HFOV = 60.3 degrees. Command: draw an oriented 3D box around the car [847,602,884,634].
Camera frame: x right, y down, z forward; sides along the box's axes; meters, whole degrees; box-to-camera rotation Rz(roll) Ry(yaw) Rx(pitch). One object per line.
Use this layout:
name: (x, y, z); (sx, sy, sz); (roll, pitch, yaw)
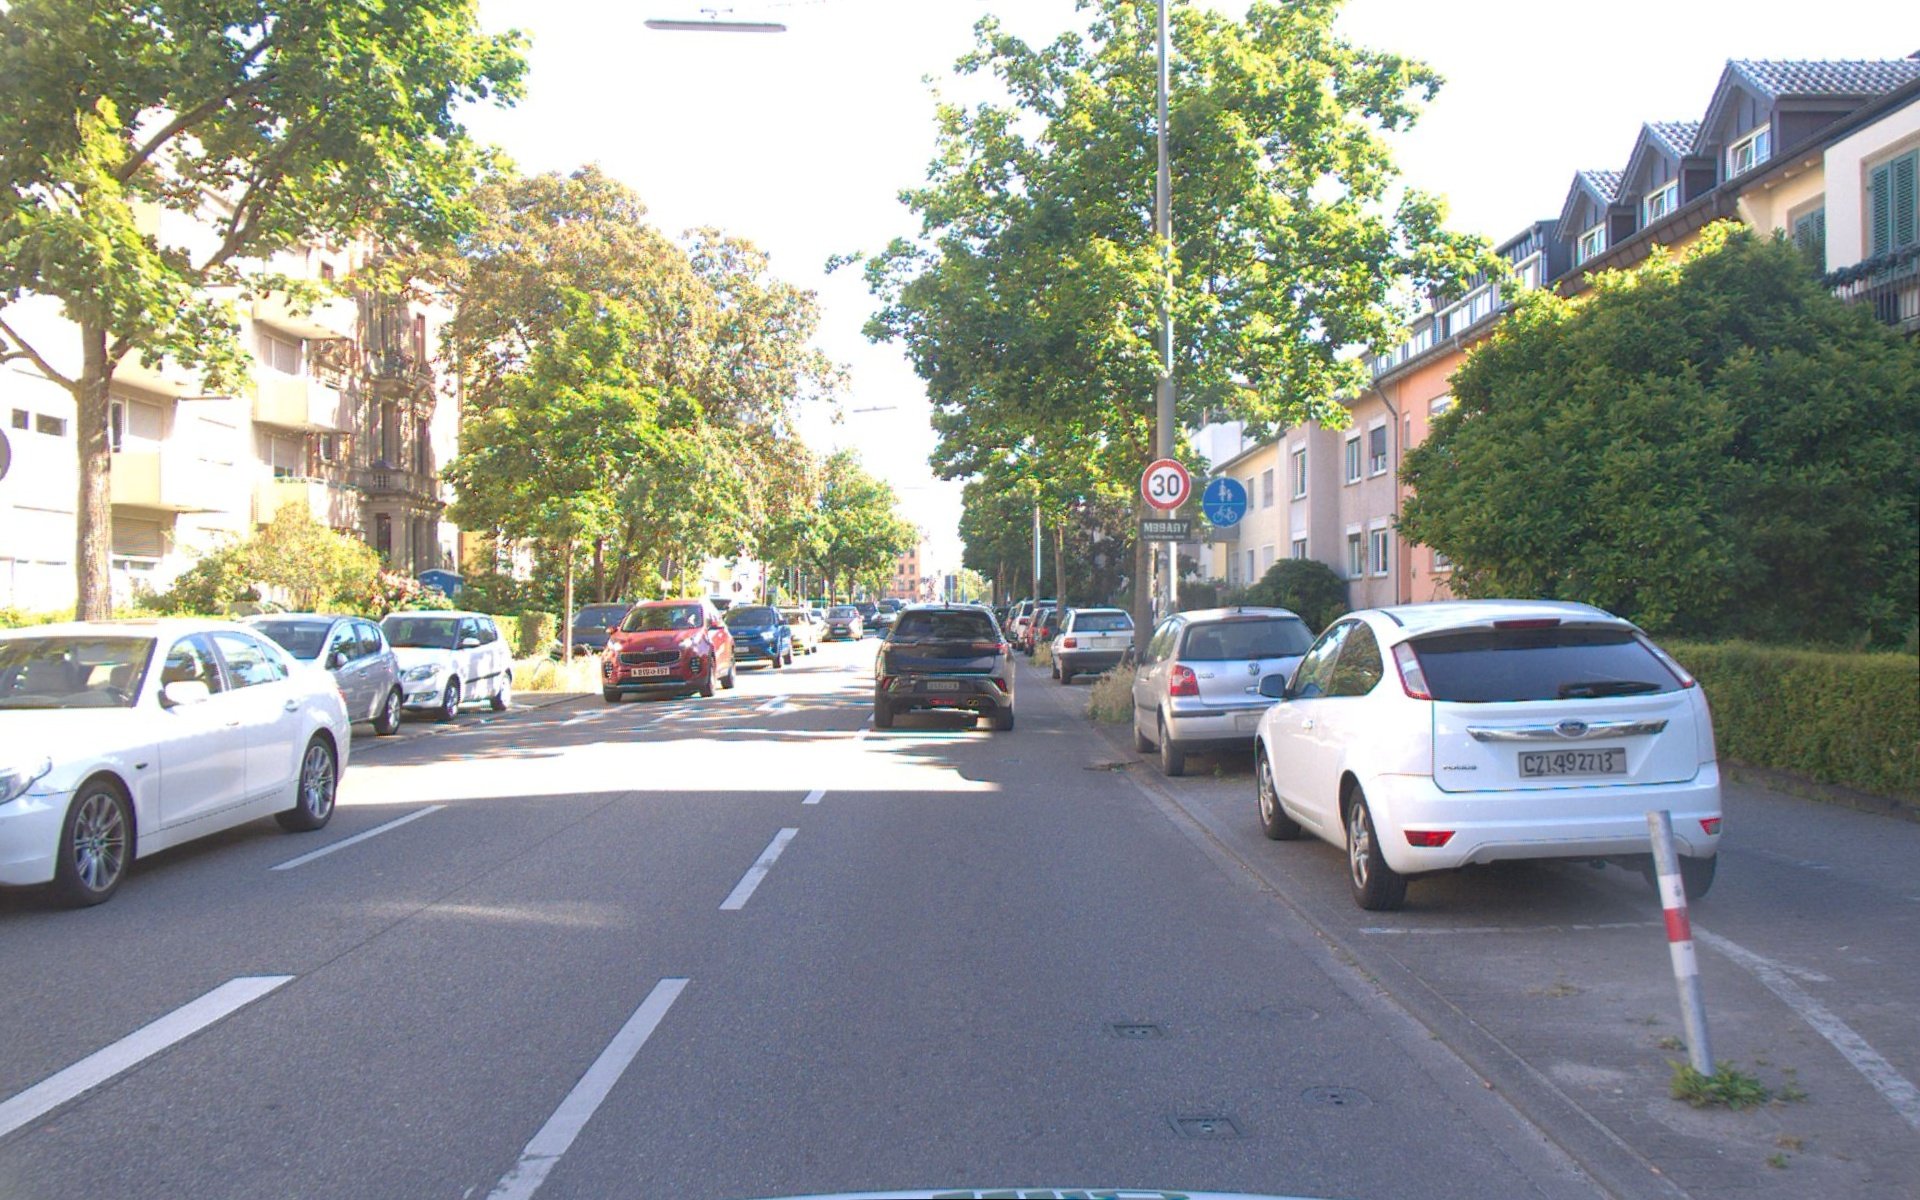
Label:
car: (-5.258, 0.968, 92.331); (1.799, 1.642, 4.400); (-3, 0, -1)

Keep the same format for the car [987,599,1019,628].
car: (2.275, 0.706, 88.349); (1.553, 1.420, 4.454); (-2, 0, 1)

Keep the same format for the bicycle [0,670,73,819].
bicycle: (-8.034, 1.101, 12.977); (1.789, 1.106, 0.560); (2, -1, -1)

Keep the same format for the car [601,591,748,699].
car: (-4.882, 0.709, 28.838); (1.686, 1.645, 4.300); (-3, 0, 1)

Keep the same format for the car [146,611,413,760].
car: (-7.671, 0.899, 19.029); (1.473, 1.501, 3.895); (0, 0, -1)

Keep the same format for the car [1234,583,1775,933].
car: (2.772, 0.714, 9.472); (1.703, 1.508, 4.196); (-2, 0, 0)

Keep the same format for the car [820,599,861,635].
car: (-5.153, 0.735, 71.633); (1.549, 1.477, 3.744); (-2, 0, -1)

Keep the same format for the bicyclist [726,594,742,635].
bicyclist: (-9.865, 0.620, 72.310); (0.596, 1.785, 0.691); (-1, 0, 0)

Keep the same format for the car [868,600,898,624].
car: (-4.939, 0.795, 106.996); (1.698, 1.437, 4.192); (-3, 0, 0)

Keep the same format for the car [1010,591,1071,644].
car: (2.707, 0.581, 56.544); (1.733, 1.688, 4.339); (-2, 0, -2)

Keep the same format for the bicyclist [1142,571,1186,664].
bicyclist: (4.129, 0.348, 33.497); (0.709, 1.824, 1.015); (-2, 0, 0)

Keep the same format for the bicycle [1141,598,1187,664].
bicycle: (4.126, 0.613, 33.561); (0.683, 1.268, 1.822); (-2, 0, 0)

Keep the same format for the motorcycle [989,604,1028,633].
motorcycle: (2.257, 0.876, 77.059); (0.689, 1.294, 2.410); (-2, 0, -27)

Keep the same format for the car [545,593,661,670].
car: (-7.943, 0.673, 37.195); (1.636, 1.633, 4.394); (0, 0, 0)

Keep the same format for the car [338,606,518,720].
car: (-7.666, 0.853, 24.147); (1.372, 1.515, 3.686); (0, 0, 1)

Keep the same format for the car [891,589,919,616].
car: (-4.243, 0.169, 128.465); (1.975, 1.986, 5.177); (-2, 0, -1)

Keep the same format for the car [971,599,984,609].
car: (2.737, 0.621, 258.649); (1.952, 1.546, 4.001); (2, -1, 2)

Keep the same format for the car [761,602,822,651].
car: (-5.328, 0.818, 52.698); (1.601, 1.428, 3.735); (-2, 0, -1)

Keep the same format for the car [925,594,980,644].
car: (-0.213, 0.618, 56.141); (1.792, 1.606, 3.839); (-1, 0, 1)

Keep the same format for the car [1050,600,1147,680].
car: (2.691, 0.754, 32.857); (1.615, 1.427, 3.970); (-2, 0, 1)

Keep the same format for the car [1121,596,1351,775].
car: (2.538, 0.736, 16.028); (1.535, 1.482, 3.865); (-2, 0, 0)

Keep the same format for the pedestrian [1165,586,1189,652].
pedestrian: (5.608, 0.489, 42.781); (0.527, 1.706, 0.493); (-1, 0, 0)

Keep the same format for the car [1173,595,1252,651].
car: (6.810, 0.605, 44.847); (1.500, 1.379, 3.717); (-3, 0, 0)

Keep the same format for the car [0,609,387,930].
car: (-5.275, 0.846, 10.153); (1.776, 1.490, 4.778); (-3, 0, 0)

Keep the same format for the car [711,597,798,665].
car: (-5.141, 0.756, 41.804); (1.622, 1.544, 4.076); (-3, 0, 0)

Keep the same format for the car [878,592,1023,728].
car: (-0.114, 0.723, 21.601); (1.709, 1.601, 3.557); (1, 0, 0)

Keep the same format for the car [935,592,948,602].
car: (-2.750, -0.417, 242.940); (1.736, 1.478, 3.883); (-1, 0, -3)

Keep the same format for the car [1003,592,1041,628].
car: (2.684, 0.426, 72.031); (1.586, 1.525, 3.649); (-1, 0, 1)

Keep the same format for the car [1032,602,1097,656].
car: (2.816, 0.768, 45.202); (1.500, 1.379, 3.717); (-1, 0, 0)

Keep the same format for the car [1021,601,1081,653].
car: (2.721, 0.779, 49.896); (1.501, 1.475, 3.717); (-1, 0, -1)
